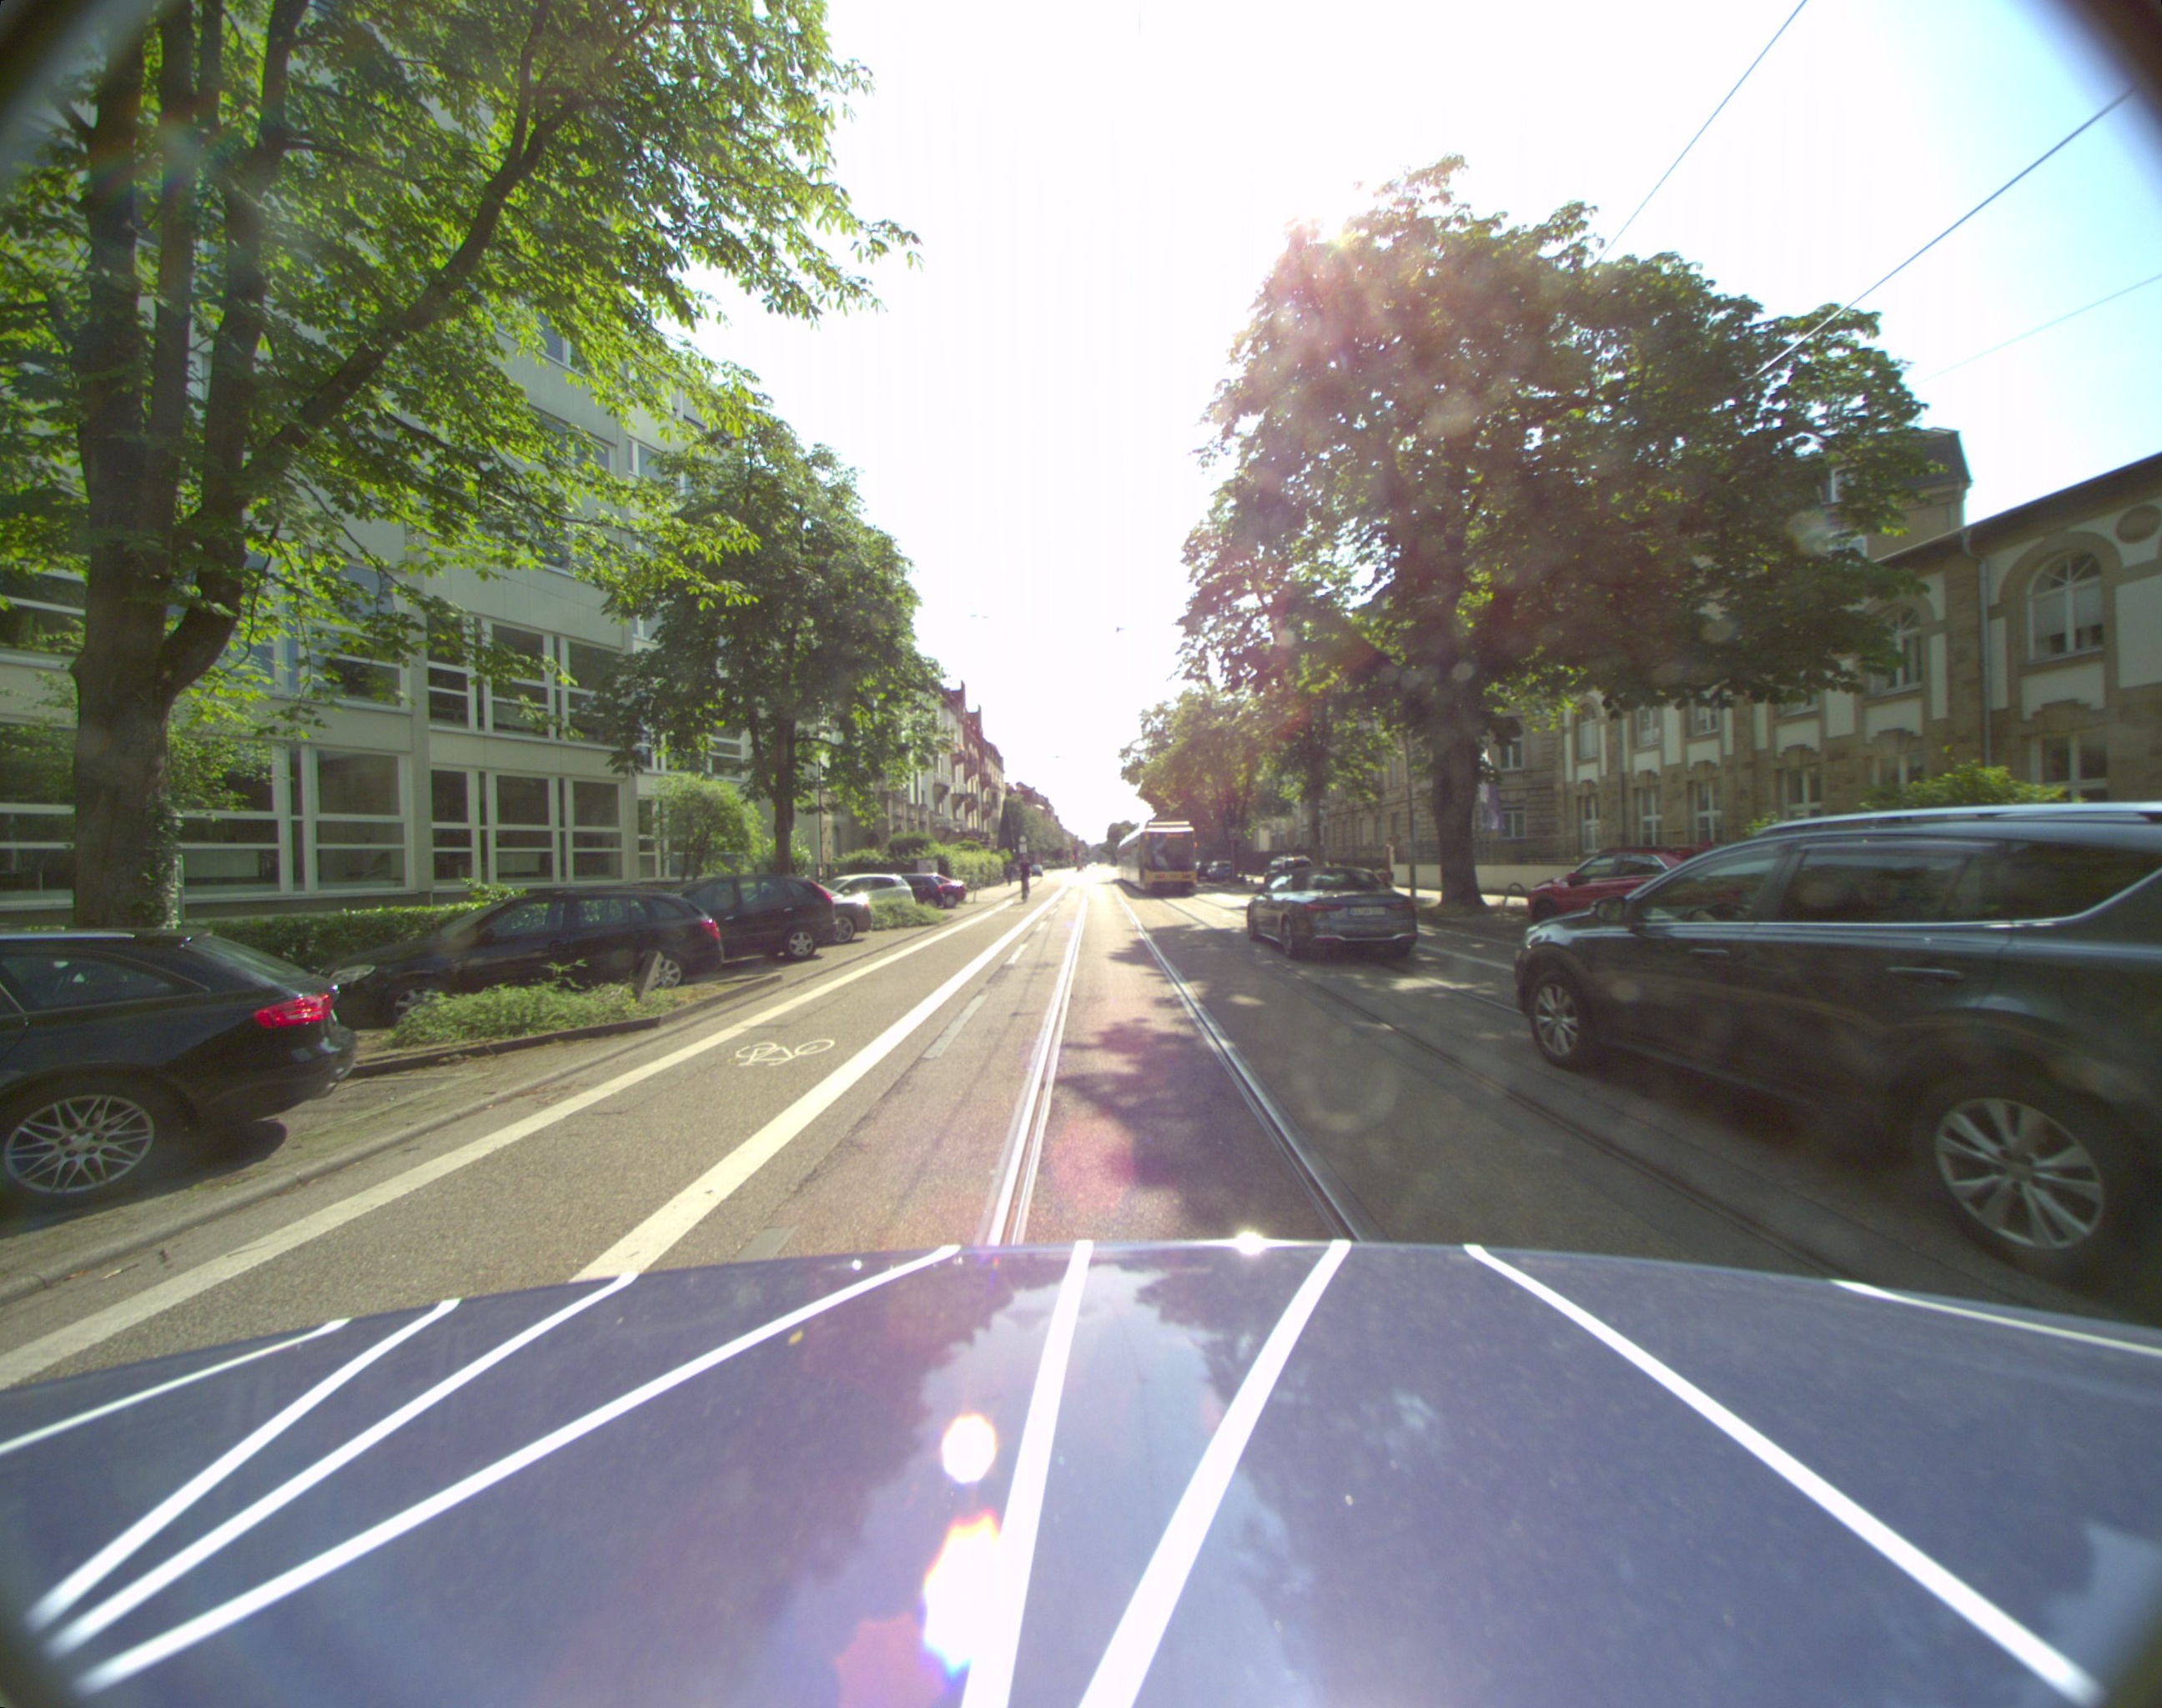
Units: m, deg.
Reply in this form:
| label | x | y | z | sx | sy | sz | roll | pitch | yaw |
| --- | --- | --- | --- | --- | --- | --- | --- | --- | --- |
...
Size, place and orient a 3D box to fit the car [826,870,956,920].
| label | x | y | z | sx | sy | sz | roll | pitch | yaw |
| --- | --- | --- | --- | --- | --- | --- | --- | --- | --- |
| car | -6.533 | 1.362 | 26.347 | 4.008 | 1.440 | 1.695 | -2 | 0 | -41 |

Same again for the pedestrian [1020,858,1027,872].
| label | x | y | z | sx | sy | sz | roll | pitch | yaw |
| --- | --- | --- | --- | --- | --- | --- | --- | --- | --- |
| pedestrian | -7.952 | 1.551 | 105.592 | 0.661 | 1.830 | 0.873 | 7 | -1 | -7 |

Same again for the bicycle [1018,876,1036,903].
| label | x | y | z | sx | sy | sz | roll | pitch | yaw |
| --- | --- | --- | --- | --- | --- | --- | --- | --- | --- |
| bicycle | -2.318 | 1.512 | 32.857 | 0.617 | 1.039 | 1.835 | 2 | 1 | 1 |

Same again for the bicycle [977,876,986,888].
| label | x | y | z | sx | sy | sz | roll | pitch | yaw |
| --- | --- | --- | --- | --- | --- | --- | --- | --- | --- |
| bicycle | -5.875 | 1.633 | 44.704 | 0.280 | 0.673 | 1.559 | 2 | 0 | 1 |

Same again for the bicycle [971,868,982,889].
| label | x | y | z | sx | sy | sz | roll | pitch | yaw |
| --- | --- | --- | --- | --- | --- | --- | --- | --- | --- |
| bicycle | -5.902 | 1.348 | 42.790 | 0.280 | 1.102 | 2.011 | 2 | 0 | 1 |

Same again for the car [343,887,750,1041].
| label | x | y | z | sx | sy | sz | roll | pitch | yaw |
| --- | --- | --- | --- | --- | --- | --- | --- | --- | --- |
| car | -6.767 | 1.251 | 9.932 | 4.084 | 1.434 | 1.722 | -1 | -2 | -43 |

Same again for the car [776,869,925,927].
| label | x | y | z | sx | sy | sz | roll | pitch | yaw |
| --- | --- | --- | --- | --- | --- | --- | --- | --- | --- |
| car | -6.868 | 1.256 | 22.961 | 4.008 | 1.452 | 1.531 | -2 | 0 | -44 |

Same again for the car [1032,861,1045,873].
| label | x | y | z | sx | sy | sz | roll | pitch | yaw |
| --- | --- | --- | --- | --- | --- | --- | --- | --- | --- |
| car | -5.529 | 1.709 | 98.388 | 1.517 | 1.490 | 2.794 | 1 | 0 | -1 |

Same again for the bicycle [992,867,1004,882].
| label | x | y | z | sx | sy | sz | roll | pitch | yaw |
| --- | --- | --- | --- | --- | --- | --- | --- | --- | --- |
| bicycle | -5.610 | 1.388 | 51.614 | 0.614 | 0.983 | 1.872 | 1 | 0 | 0 |

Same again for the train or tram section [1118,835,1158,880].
| label | x | y | z | sx | sy | sz | roll | pitch | yaw |
| --- | --- | --- | --- | --- | --- | --- | --- | --- | --- |
| train or tram section | 4.656 | 0.199 | 64.197 | 2.659 | 3.416 | 12.314 | 0 | 0 | 1 |

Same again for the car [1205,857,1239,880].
| label | x | y | z | sx | sy | sz | roll | pitch | yaw |
| --- | --- | --- | --- | --- | --- | --- | --- | --- | --- |
| car | 9.976 | 1.019 | 54.077 | 1.658 | 1.476 | 3.808 | -3 | 0 | 0 |

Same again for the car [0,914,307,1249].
| label | x | y | z | sx | sy | sz | roll | pitch | yaw |
| --- | --- | --- | --- | --- | --- | --- | --- | --- | --- |
| car | -6.742 | 1.229 | 3.358 | 4.544 | 1.434 | 2.026 | -4 | 1 | -44 |

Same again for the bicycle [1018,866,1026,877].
| label | x | y | z | sx | sy | sz | roll | pitch | yaw |
| --- | --- | --- | --- | --- | --- | --- | --- | --- | --- |
| bicycle | -5.475 | 1.627 | 70.202 | 0.600 | 0.955 | 3.066 | 2 | -1 | -2 |

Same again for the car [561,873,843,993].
| label | x | y | z | sx | sy | sz | roll | pitch | yaw |
| --- | --- | --- | --- | --- | --- | --- | --- | --- | --- |
| car | -6.526 | 1.236 | 13.301 | 4.007 | 1.565 | 1.900 | -3 | 0 | -41 |

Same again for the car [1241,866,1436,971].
| label | x | y | z | sx | sy | sz | roll | pitch | yaw |
| --- | --- | --- | --- | --- | --- | --- | --- | --- | --- |
| car | 4.028 | 0.927 | 12.743 | 1.803 | 1.380 | 4.426 | -1 | 0 | 1 |

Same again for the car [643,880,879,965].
| label | x | y | z | sx | sy | sz | roll | pitch | yaw |
| --- | --- | --- | --- | --- | --- | --- | --- | --- | --- |
| car | -6.723 | 1.363 | 16.243 | 4.183 | 1.341 | 1.900 | -3 | 0 | -44 |

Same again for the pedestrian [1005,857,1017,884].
| label | x | y | z | sx | sy | sz | roll | pitch | yaw |
| --- | --- | --- | --- | --- | --- | --- | --- | --- | --- |
| pedestrian | -4.877 | 1.124 | 53.081 | 0.790 | 1.850 | 0.580 | 1 | 0 | -6 |

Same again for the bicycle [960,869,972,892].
| label | x | y | z | sx | sy | sz | roll | pitch | yaw |
| --- | --- | --- | --- | --- | --- | --- | --- | --- | --- |
| bicycle | -5.945 | 1.358 | 39.272 | 0.280 | 1.102 | 2.011 | 2 | 0 | 1 |

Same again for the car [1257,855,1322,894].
| label | x | y | z | sx | sy | sz | roll | pitch | yaw |
| --- | --- | --- | --- | --- | --- | --- | --- | --- | --- |
| car | 9.676 | 0.898 | 35.655 | 1.811 | 1.631 | 4.331 | -3 | 0 | 0 |

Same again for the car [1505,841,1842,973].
| label | x | y | z | sx | sy | sz | roll | pitch | yaw |
| --- | --- | --- | --- | --- | --- | --- | --- | --- | --- |
| car | 9.170 | 0.701 | 12.424 | 1.755 | 1.655 | 4.720 | -3 | 0 | 0 |

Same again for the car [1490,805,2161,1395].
| label | x | y | z | sx | sy | sz | roll | pitch | yaw |
| --- | --- | --- | --- | --- | --- | --- | --- | --- | --- |
| car | 4.085 | 0.738 | 3.743 | 1.830 | 1.716 | 4.392 | 0 | -1 | 1 |

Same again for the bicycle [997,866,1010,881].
| label | x | y | z | sx | sy | sz | roll | pitch | yaw |
| --- | --- | --- | --- | --- | --- | --- | --- | --- | --- |
| bicycle | -5.499 | 1.405 | 54.013 | 0.612 | 0.990 | 2.362 | 1 | 0 | 0 |

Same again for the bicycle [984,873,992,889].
| label | x | y | z | sx | sy | sz | roll | pitch | yaw |
| --- | --- | --- | --- | --- | --- | --- | --- | --- | --- |
| bicycle | -5.789 | 1.674 | 47.322 | 0.274 | 0.901 | 1.668 | -2 | 0 | 1 |

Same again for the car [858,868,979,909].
| label | x | y | z | sx | sy | sz | roll | pitch | yaw |
| --- | --- | --- | --- | --- | --- | --- | --- | --- | --- |
| car | -6.260 | 1.286 | 29.516 | 4.168 | 1.415 | 1.861 | -1 | 0 | -41 |

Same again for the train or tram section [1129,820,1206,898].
| label | x | y | z | sx | sy | sz | roll | pitch | yaw |
| --- | --- | --- | --- | --- | --- | --- | --- | --- | --- |
| train or tram section | 4.140 | 0.191 | 39.623 | 2.659 | 3.336 | 14.108 | 0 | 0 | 1 |

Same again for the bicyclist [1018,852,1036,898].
| label | x | y | z | sx | sy | sz | roll | pitch | yaw |
| --- | --- | --- | --- | --- | --- | --- | --- | --- | --- |
| bicyclist | -2.315 | 0.879 | 32.764 | 0.608 | 1.937 | 1.130 | -3 | 1 | 1 |

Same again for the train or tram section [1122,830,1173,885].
| label | x | y | z | sx | sy | sz | roll | pitch | yaw |
| --- | --- | --- | --- | --- | --- | --- | --- | --- | --- |
| train or tram section | 4.399 | 0.198 | 52.361 | 2.659 | 3.369 | 11.473 | 0 | 0 | 1 |

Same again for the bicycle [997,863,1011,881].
| label | x | y | z | sx | sy | sz | roll | pitch | yaw |
| --- | --- | --- | --- | --- | --- | --- | --- | --- | --- |
| bicycle | -5.791 | 1.352 | 57.487 | 0.742 | 1.224 | 2.516 | -1 | 0 | 0 |

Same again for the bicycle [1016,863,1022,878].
| label | x | y | z | sx | sy | sz | roll | pitch | yaw |
| --- | --- | --- | --- | --- | --- | --- | --- | --- | --- |
| bicycle | -5.301 | 1.423 | 65.026 | 0.452 | 1.253 | 1.844 | 1 | 0 | -2 |
